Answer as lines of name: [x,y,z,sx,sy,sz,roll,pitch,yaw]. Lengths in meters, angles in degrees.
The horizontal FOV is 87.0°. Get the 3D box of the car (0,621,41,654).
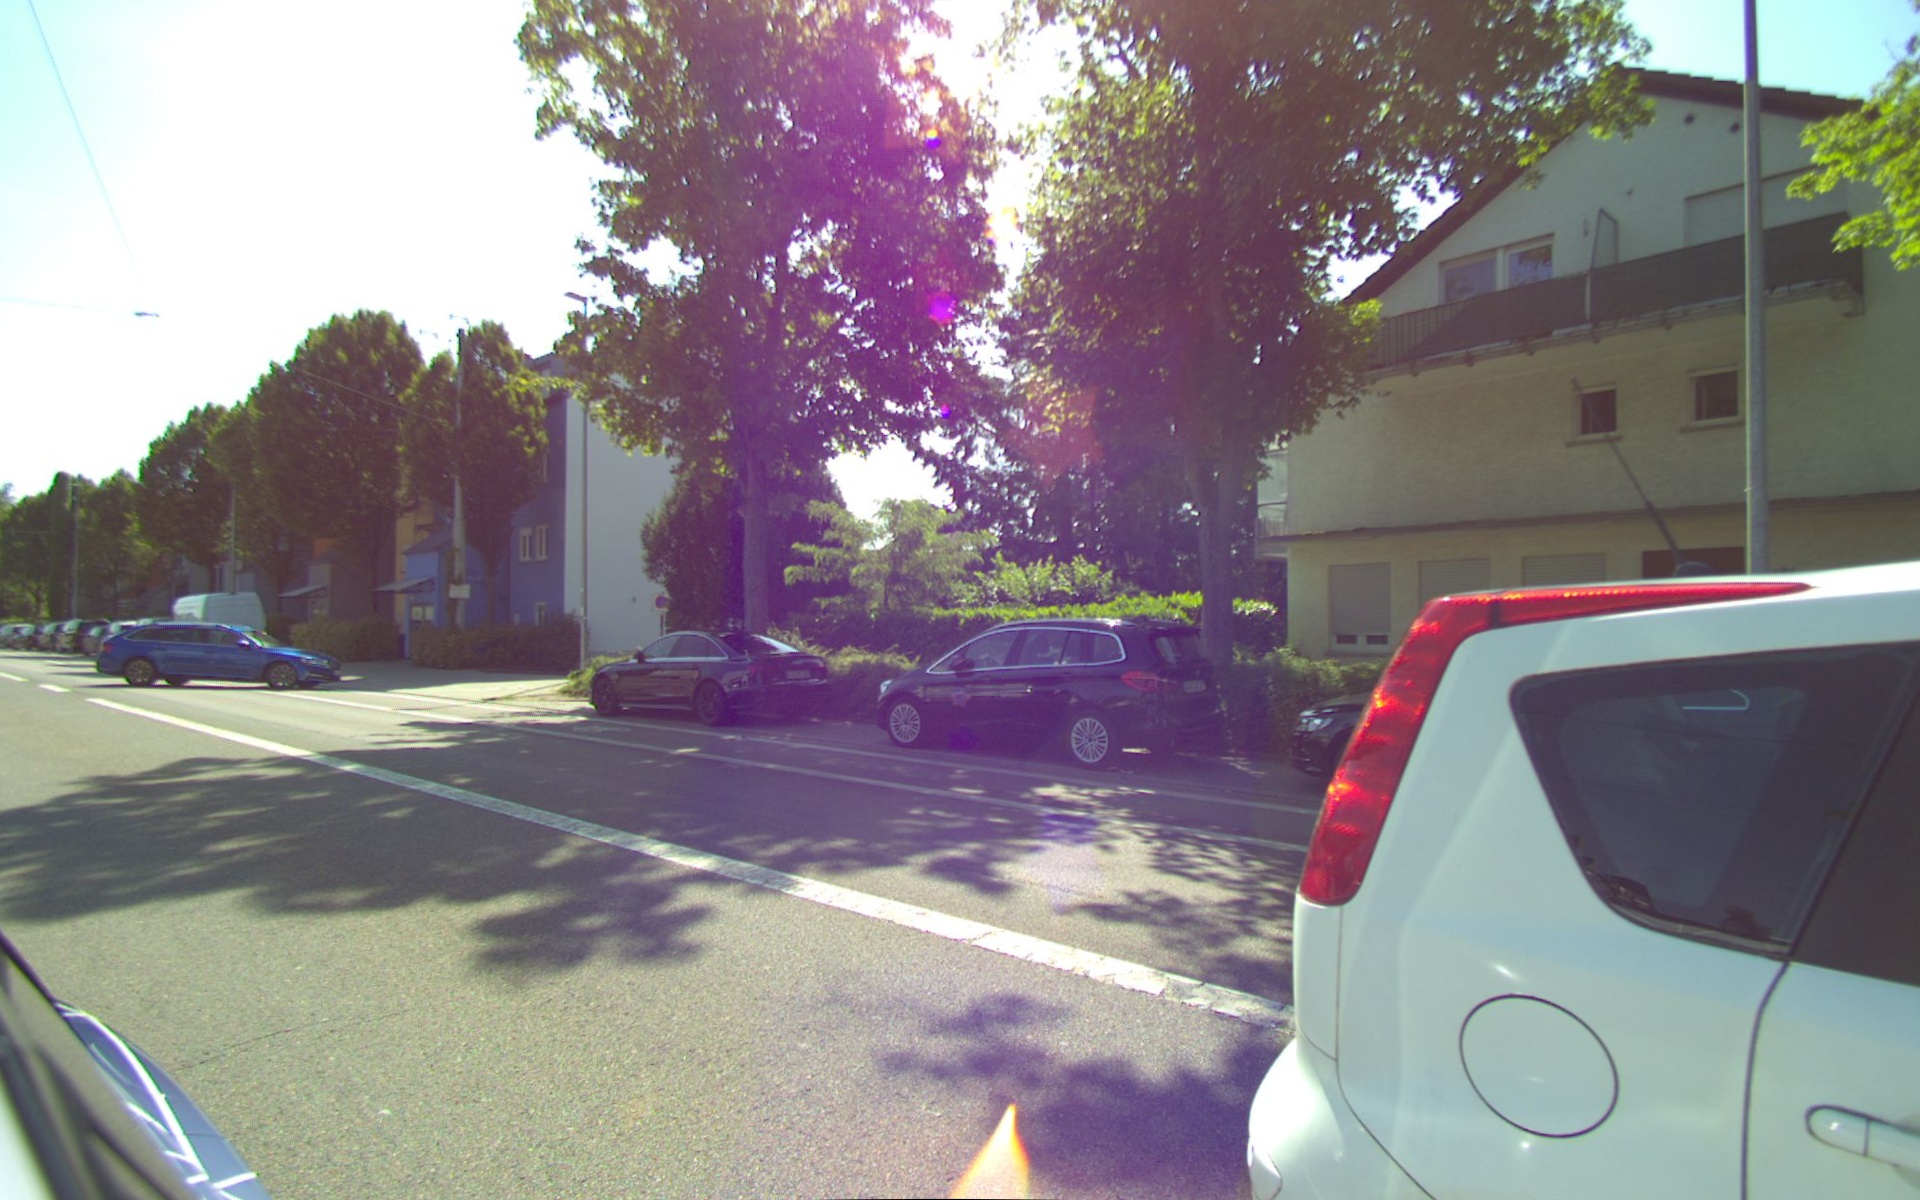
car: [-59.890,2.342,63.945,4.766,1.818,1.974,-2,4,41]

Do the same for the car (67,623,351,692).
car: [-17.359,1.331,23.648,4.994,1.441,1.894,2,-2,-9]

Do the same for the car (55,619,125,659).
car: [-45.736,2.043,53.186,4.766,1.818,1.974,-2,4,41]

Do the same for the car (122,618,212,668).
car: [-33.694,1.802,42.952,4.766,1.818,1.974,-2,4,41]

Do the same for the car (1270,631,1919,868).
car: [5.186,1.013,8.434,4.619,1.426,1.844,-1,0,41]

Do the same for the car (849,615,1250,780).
car: [0.924,1.019,12.248,4.619,1.583,1.844,-1,0,41]

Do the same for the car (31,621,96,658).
car: [-50.234,2.193,56.688,4.766,1.818,1.974,-2,4,41]

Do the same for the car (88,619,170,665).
car: [-38.061,1.877,46.328,4.766,1.818,1.974,-2,4,41]

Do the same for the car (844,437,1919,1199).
car: [2.013,0.613,1.137,4.544,1.559,1.645,-1,-1,41]

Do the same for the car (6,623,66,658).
car: [-54.910,2.378,60.109,4.766,1.818,1.974,-2,4,41]

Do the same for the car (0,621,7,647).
car: [-68.808,2.469,71.158,4.766,1.818,1.974,-2,4,41]

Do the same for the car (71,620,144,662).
car: [-42.128,2.003,50.005,4.254,1.818,1.974,-2,4,41]

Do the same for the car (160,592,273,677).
car: [-27.316,1.229,37.092,6.213,2.713,1.973,-2,4,43]

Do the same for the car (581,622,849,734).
car: [-4.090,1.157,16.516,4.616,1.583,1.845,-1,-2,39]
